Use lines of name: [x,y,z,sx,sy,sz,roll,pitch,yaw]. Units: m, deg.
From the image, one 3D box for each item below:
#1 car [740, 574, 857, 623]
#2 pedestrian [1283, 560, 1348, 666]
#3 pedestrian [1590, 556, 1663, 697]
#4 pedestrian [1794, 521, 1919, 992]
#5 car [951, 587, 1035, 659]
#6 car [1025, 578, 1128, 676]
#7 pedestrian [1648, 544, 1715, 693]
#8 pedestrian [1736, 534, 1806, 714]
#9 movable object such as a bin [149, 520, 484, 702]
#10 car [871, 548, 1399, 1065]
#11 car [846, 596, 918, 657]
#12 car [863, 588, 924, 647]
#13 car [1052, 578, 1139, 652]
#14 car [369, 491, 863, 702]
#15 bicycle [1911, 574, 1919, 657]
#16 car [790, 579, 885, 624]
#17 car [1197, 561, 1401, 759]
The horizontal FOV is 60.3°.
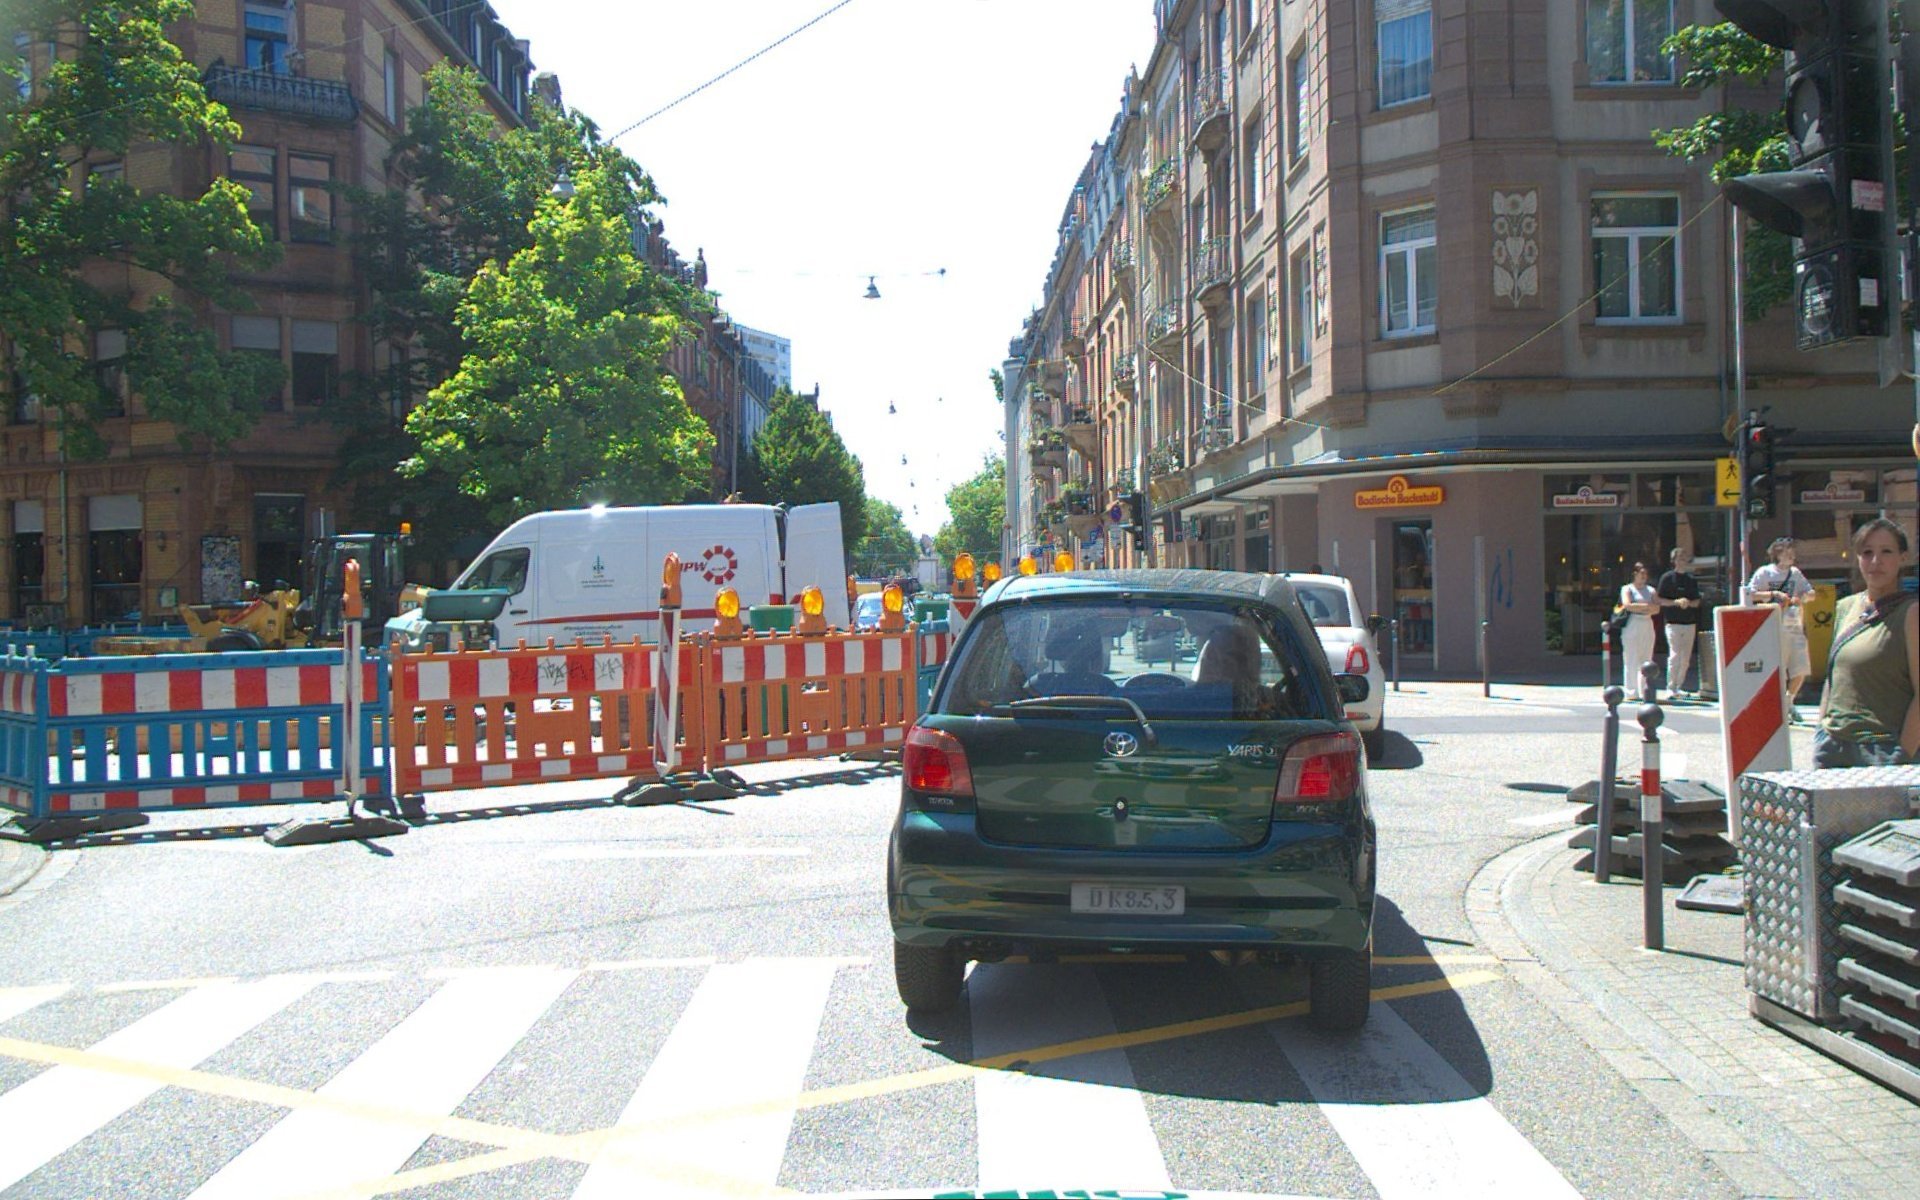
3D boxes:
car: [-7.113,-0.083,72.892,4.723,2.029,2.033,-1,0,-30]
pedestrian: [5.684,0.201,26.477,0.633,1.652,0.797,-1,0,-27]
pedestrian: [8.261,0.318,20.513,0.688,1.673,0.422,-4,4,-9]
pedestrian: [3.281,0.525,5.813,0.450,1.587,0.479,-1,0,5]
car: [0.811,0.564,43.166,1.953,1.646,3.999,-4,0,-1]
car: [2.051,0.441,29.761,1.492,1.620,3.263,-1,1,-2]
pedestrian: [9.005,0.217,20.656,0.564,1.799,0.470,-4,4,-9]
pedestrian: [8.189,0.241,16.723,0.467,1.763,0.872,-1,-1,18]
movable object such as a bin: [-9.957,0.166,25.882,4.452,2.705,1.954,0,0,-3]
car: [0.804,0.603,6.582,1.579,1.511,3.244,0,0,11]
car: [-2.012,0.661,43.691,1.719,1.469,3.999,-2,0,-1]
car: [-2.089,0.533,53.034,1.719,1.673,4.377,-4,0,-1]
car: [3.532,0.371,43.814,1.833,1.743,4.503,-3,0,0]
car: [-4.704,-0.055,23.495,6.486,2.799,2.380,0,0,0]
bicycle: [14.283,0.198,22.810,1.938,1.152,0.517,-1,0,17]
car: [-6.309,0.049,85.392,4.507,2.226,1.981,-1,0,-29]
car: [3.100,0.458,14.723,1.490,1.547,3.266,-1,1,16]
